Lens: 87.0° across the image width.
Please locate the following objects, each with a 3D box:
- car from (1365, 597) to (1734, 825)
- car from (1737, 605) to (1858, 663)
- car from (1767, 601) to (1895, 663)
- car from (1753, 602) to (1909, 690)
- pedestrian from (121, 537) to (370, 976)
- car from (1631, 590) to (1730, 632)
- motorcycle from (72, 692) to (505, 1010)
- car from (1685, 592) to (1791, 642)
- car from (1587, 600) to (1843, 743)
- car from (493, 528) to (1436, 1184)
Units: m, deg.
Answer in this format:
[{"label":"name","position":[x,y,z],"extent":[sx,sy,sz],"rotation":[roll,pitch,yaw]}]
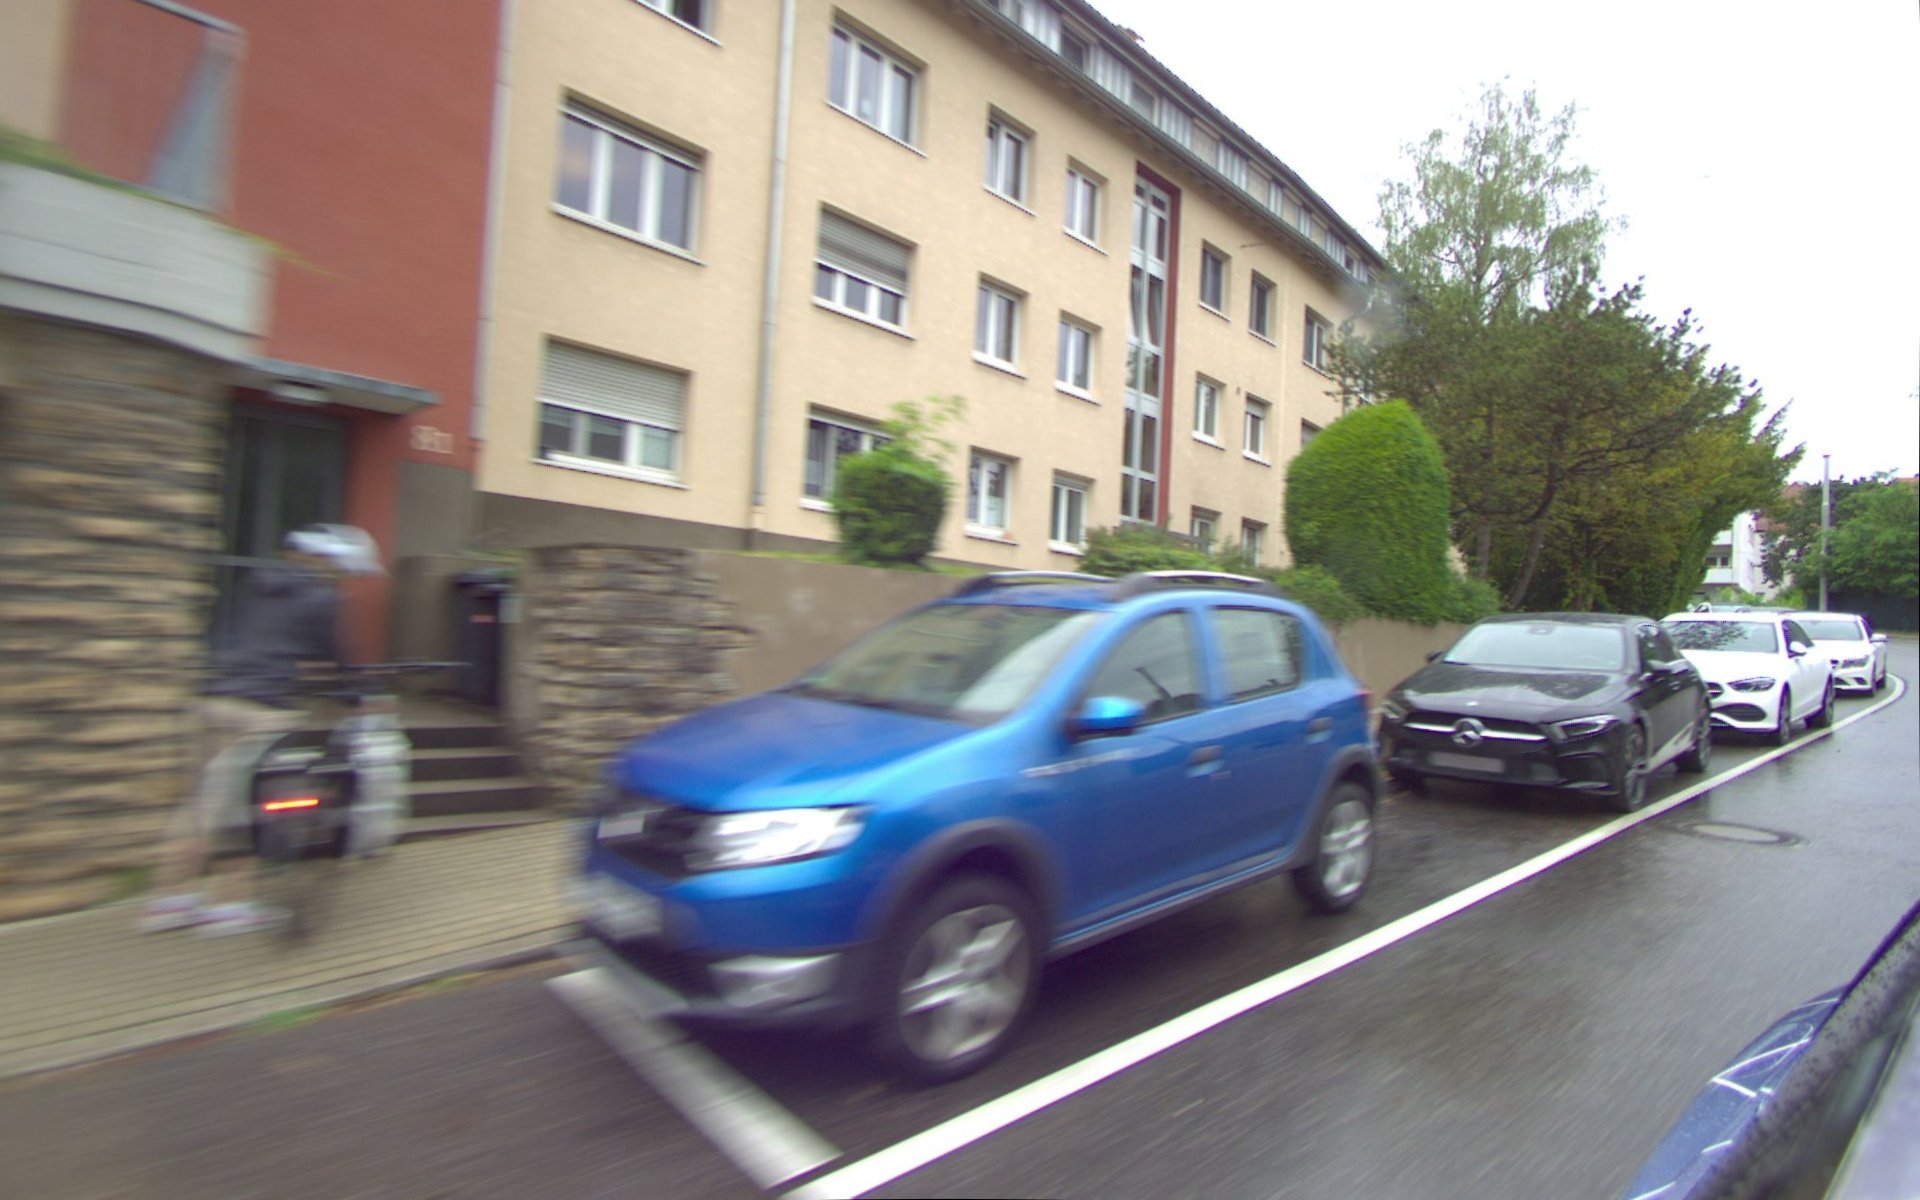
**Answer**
[{"label":"car","position":[5.215,0.743,8.685],"extent":[4.183,1.474,1.690],"rotation":[1,0,-44]},{"label":"car","position":[24.915,0.939,30.288],"extent":[1.796,1.453,4.488],"rotation":[3,2,27]},{"label":"car","position":[22.306,0.753,26.091],"extent":[1.800,1.364,4.566],"rotation":[3,2,33]},{"label":"car","position":[16.390,0.808,18.955],"extent":[4.492,1.454,1.780],"rotation":[1,-2,-44]},{"label":"pedestrian","position":[-2.980,0.600,4.256],"extent":[0.613,1.672,0.611],"rotation":[-1,-1,18]},{"label":"car","position":[28.096,0.392,39.628],"extent":[1.696,1.453,4.051],"rotation":[4,1,14]},{"label":"motorcycle","position":[-2.466,0.850,3.901],"extent":[0.530,0.867,1.372],"rotation":[-1,-1,18]},{"label":"car","position":[26.437,0.553,34.530],"extent":[1.667,1.489,3.715],"rotation":[4,1,19]},{"label":"car","position":[9.505,0.766,12.610],"extent":[4.181,1.474,1.809],"rotation":[1,0,-42]},{"label":"car","position":[0.379,0.644,4.557],"extent":[4.181,1.613,1.736],"rotation":[1,0,-42]}]
